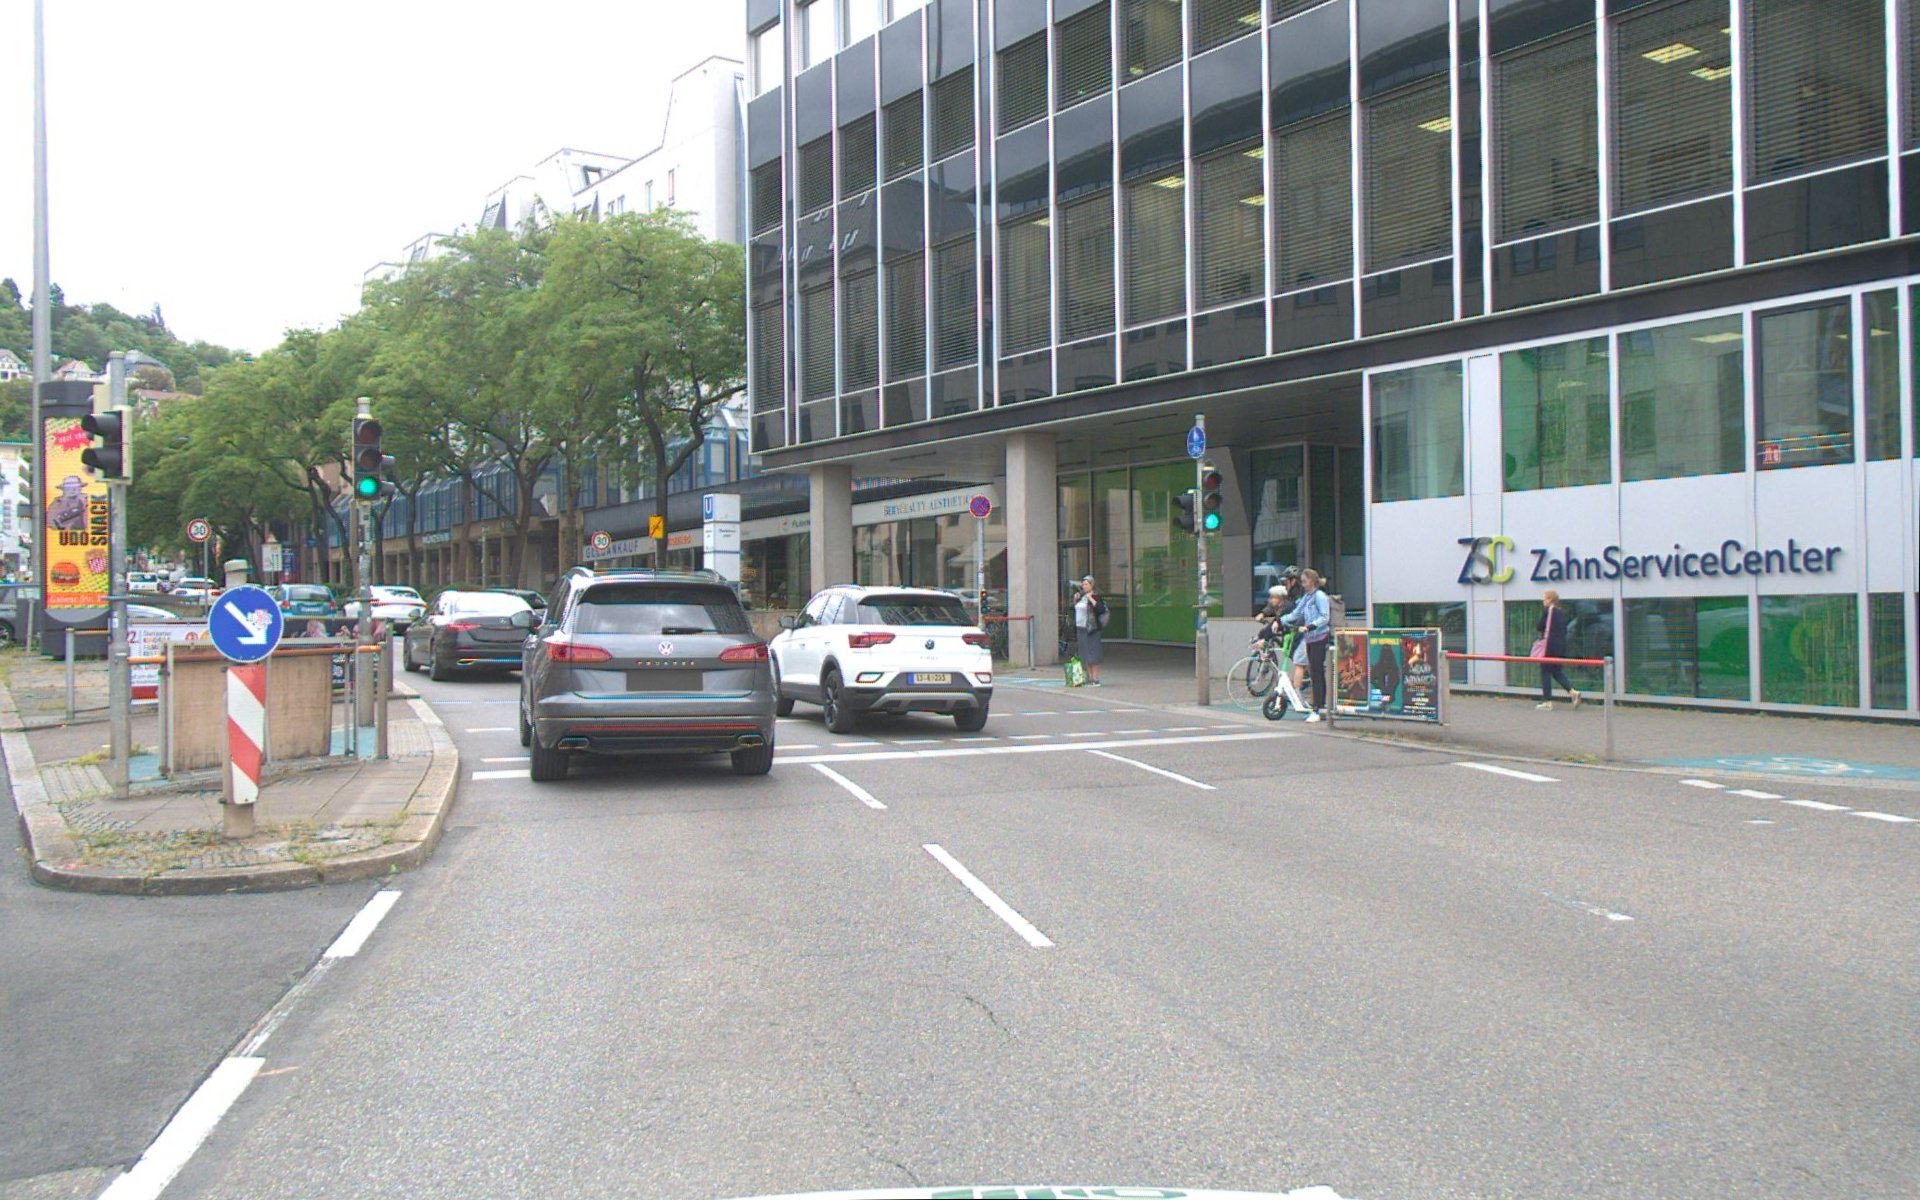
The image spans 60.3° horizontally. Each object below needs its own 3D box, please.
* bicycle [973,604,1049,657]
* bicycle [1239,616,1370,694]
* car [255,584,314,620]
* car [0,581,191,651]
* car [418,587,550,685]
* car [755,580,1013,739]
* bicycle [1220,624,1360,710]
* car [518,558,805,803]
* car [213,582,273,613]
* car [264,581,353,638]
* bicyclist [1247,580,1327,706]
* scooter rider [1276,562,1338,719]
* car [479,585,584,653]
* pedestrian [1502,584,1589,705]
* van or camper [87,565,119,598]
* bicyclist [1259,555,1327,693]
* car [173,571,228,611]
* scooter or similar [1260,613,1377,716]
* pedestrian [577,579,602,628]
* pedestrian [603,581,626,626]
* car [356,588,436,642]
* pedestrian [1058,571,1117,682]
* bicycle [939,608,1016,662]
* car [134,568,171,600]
[{"bbox_3d":[1.057,0.628,34.448,1.458,1.066,0.711,0,0,39],"label":"bicycle"},{"bbox_3d":[4.908,0.784,23.638,1.726,1.024,0.680,-1,2,-2],"label":"bicycle"},{"bbox_3d":[-27.869,0.084,68.155,1.812,1.387,3.731,-1,1,-29],"label":"car"},{"bbox_3d":[-19.382,0.326,36.237,4.488,1.484,1.868,0,0,-23],"label":"car"},{"bbox_3d":[-7.934,0.544,27.357,1.806,1.420,4.123,1,1,-20],"label":"car"},{"bbox_3d":[-0.979,0.600,18.879,1.772,1.572,3.910,-1,0,-21],"label":"car"},{"bbox_3d":[4.193,0.845,21.065,1.633,1.045,0.580,-1,0,31],"label":"bicycle"},{"bbox_3d":[-2.710,0.547,14.187,1.939,1.725,4.205,-1,1,-17],"label":"car"},{"bbox_3d":[-35.089,-0.133,80.915,2.037,1.443,4.284,-2,1,-33],"label":"car"},{"bbox_3d":[-18.541,0.252,46.987,1.813,1.544,3.728,-1,1,-30],"label":"car"},{"bbox_3d":[4.169,0.543,21.082,0.828,1.576,0.564,-1,0,31],"label":"bicyclist"},{"bbox_3d":[4.153,0.472,19.760,0.628,1.840,0.593,-1,0,18],"label":"scooter rider"},{"bbox_3d":[-10.319,0.421,39.648,1.809,1.457,4.117,1,1,-24],"label":"car"},{"bbox_3d":[7.362,0.542,20.812,0.599,1.468,0.828,-1,1,-35],"label":"pedestrian"},{"bbox_3d":[-87.620,-1.888,169.087,2.600,3.234,5.743,0,0,-30],"label":"van or camper"},{"bbox_3d":[4.749,0.328,23.602,0.795,1.877,0.675,-2,4,-1],"label":"bicyclist"},{"bbox_3d":[-31.138,-0.368,67.770,1.812,1.594,3.731,-1,1,-29],"label":"car"},{"bbox_3d":[4.278,0.766,19.724,1.291,1.196,0.593,-1,0,18],"label":"scooter or similar"},{"bbox_3d":[-13.877,0.126,61.894,0.591,1.784,0.929,-1,1,-36],"label":"pedestrian"},{"bbox_3d":[-13.050,0.133,62.434,0.591,1.657,0.748,-1,1,-36],"label":"pedestrian"},{"bbox_3d":[-17.295,0.440,50.656,1.810,1.544,3.734,-1,1,-27],"label":"car"},{"bbox_3d":[2.048,0.426,26.535,0.520,1.741,0.743,-2,-1,-36],"label":"pedestrian"},{"bbox_3d":[0.357,0.712,34.020,1.458,1.066,0.711,0,0,39],"label":"bicycle"},{"bbox_3d":[-50.018,-0.989,102.375,1.812,1.907,4.823,-1,1,-29],"label":"car"}]
